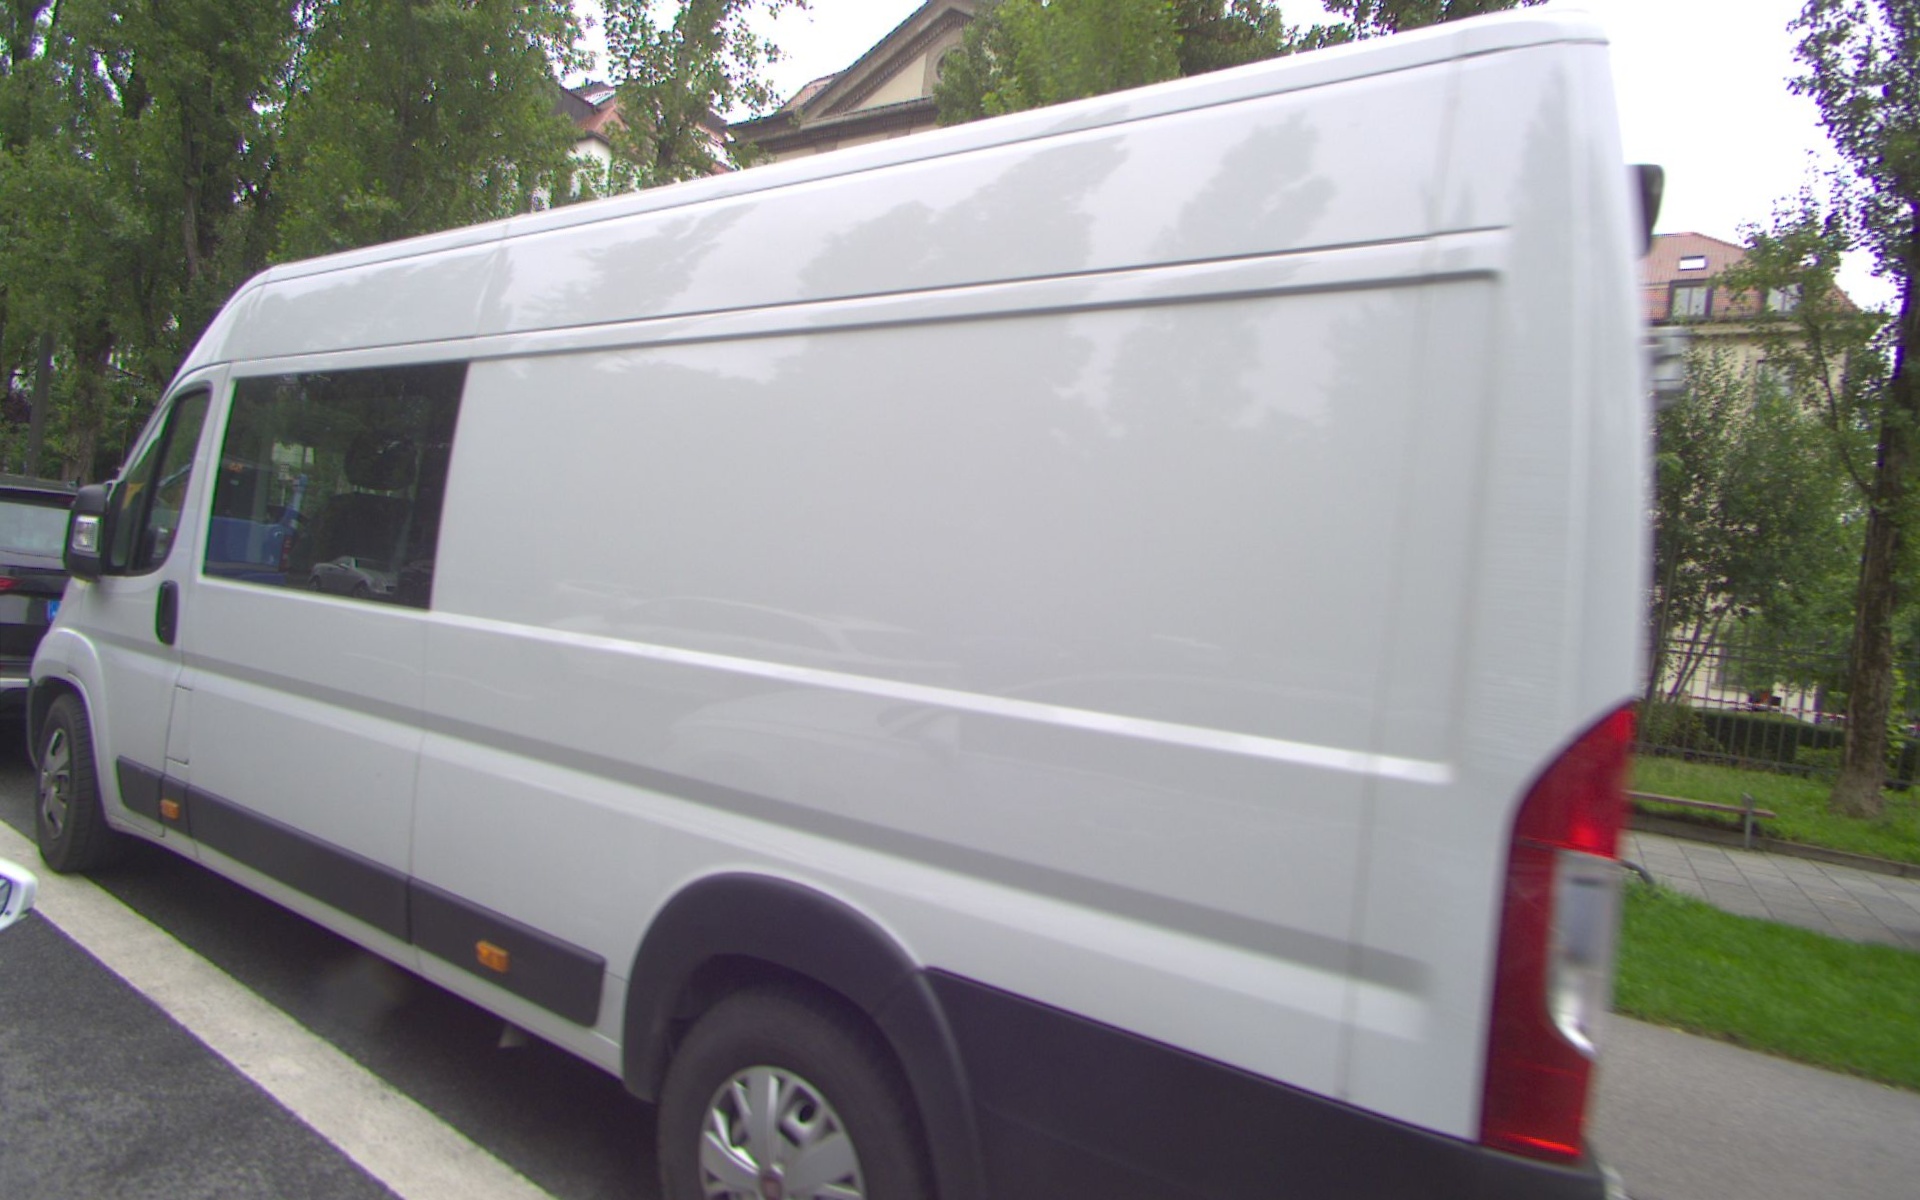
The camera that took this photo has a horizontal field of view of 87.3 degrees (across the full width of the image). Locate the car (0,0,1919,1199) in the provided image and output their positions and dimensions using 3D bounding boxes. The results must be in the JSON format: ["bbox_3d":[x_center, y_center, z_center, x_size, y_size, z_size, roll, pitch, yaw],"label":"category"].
[{"bbox_3d":[-1.037,0.041,3.521,6.180,2.508,2.077,7,-1,32],"label":"car"}]

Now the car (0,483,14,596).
[{"bbox_3d":[-10.730,-0.561,9.417,4.046,1.521,1.654,7,-1,32],"label":"car"}]

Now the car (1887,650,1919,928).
[{"bbox_3d":[8.627,1.476,5.333,5.000,1.970,1.995,7,0,33],"label":"car"}]

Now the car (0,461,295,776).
[{"bbox_3d":[-6.445,-0.070,6.572,4.153,1.609,1.824,7,-1,32],"label":"car"}]

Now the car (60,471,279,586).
[{"bbox_3d":[-17.513,-1.605,22.203,5.235,1.949,1.996,7,0,32],"label":"car"}]
